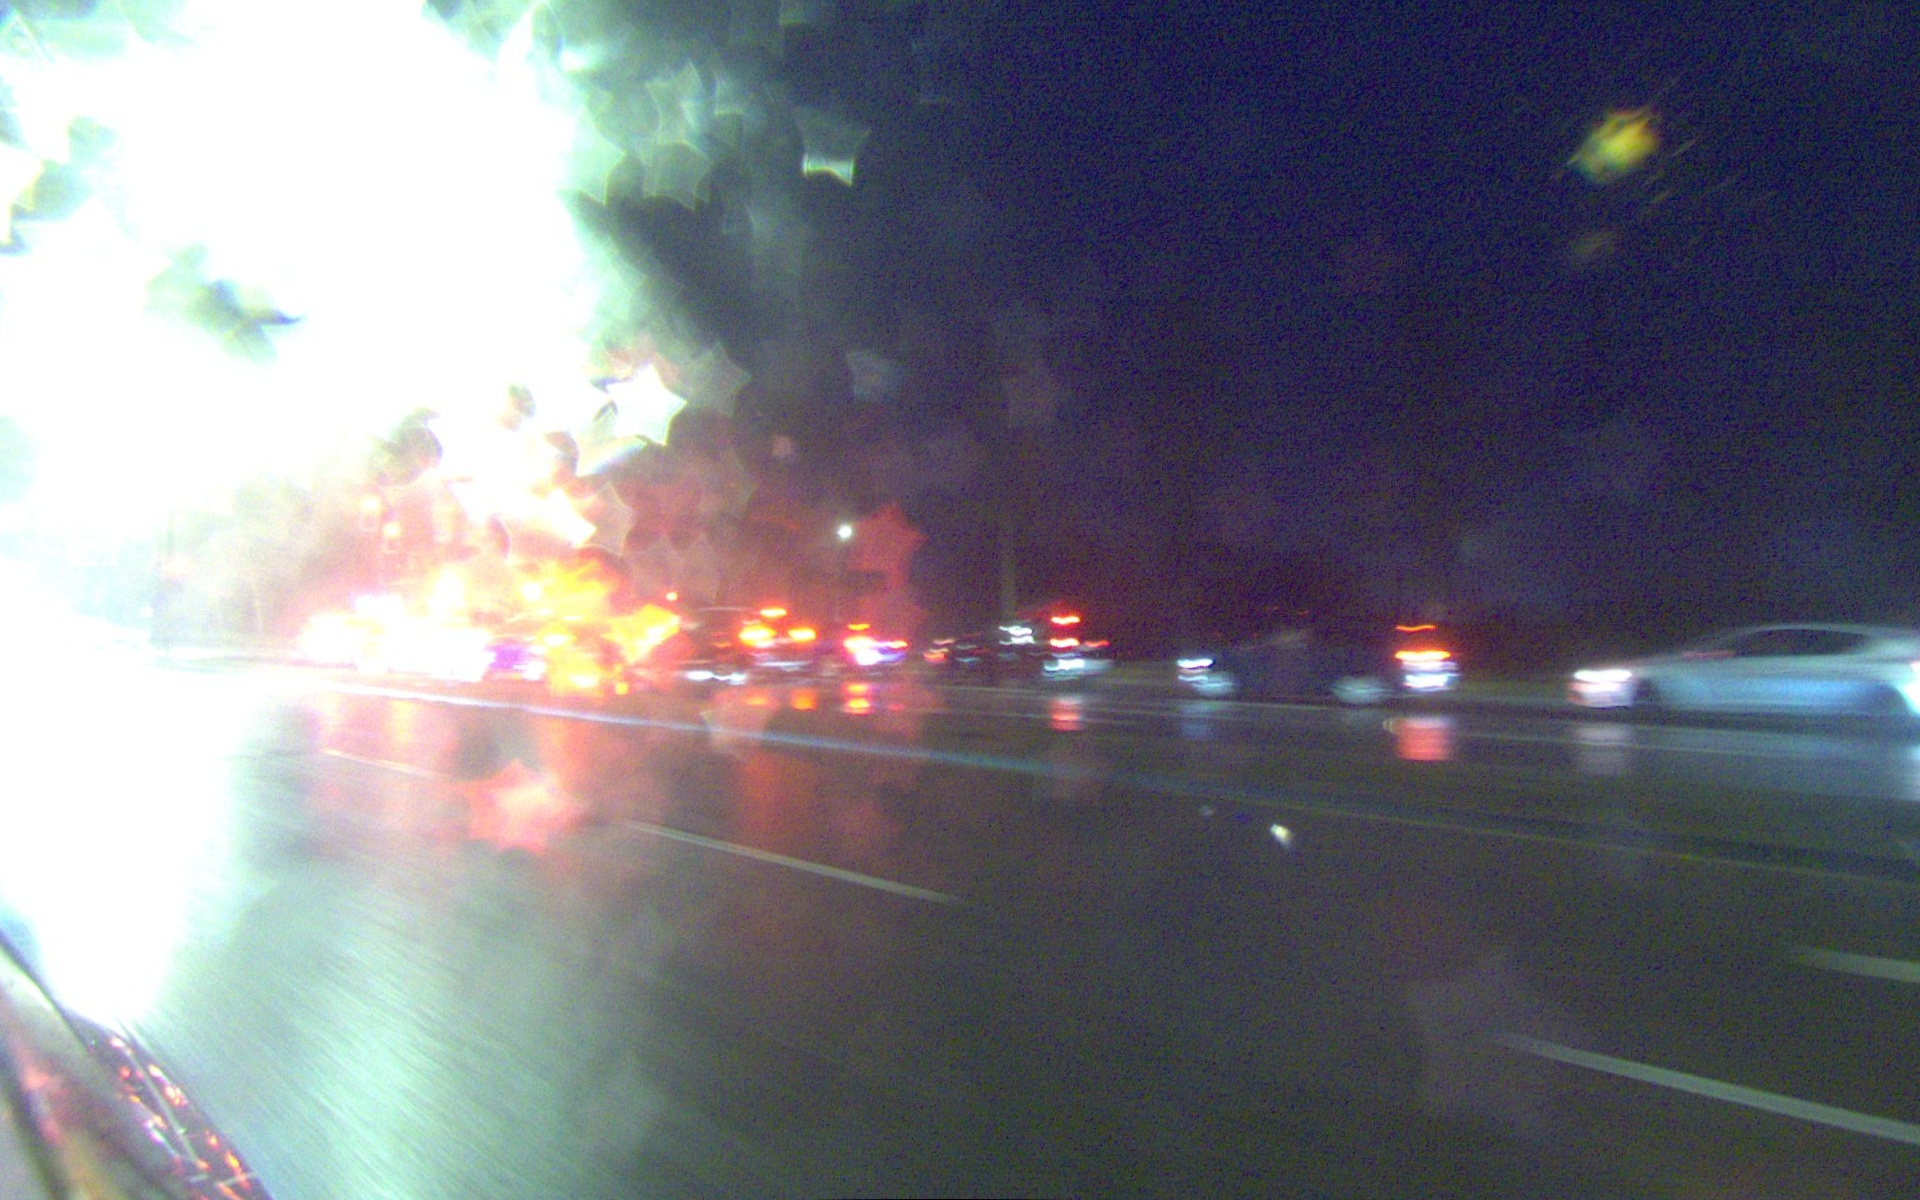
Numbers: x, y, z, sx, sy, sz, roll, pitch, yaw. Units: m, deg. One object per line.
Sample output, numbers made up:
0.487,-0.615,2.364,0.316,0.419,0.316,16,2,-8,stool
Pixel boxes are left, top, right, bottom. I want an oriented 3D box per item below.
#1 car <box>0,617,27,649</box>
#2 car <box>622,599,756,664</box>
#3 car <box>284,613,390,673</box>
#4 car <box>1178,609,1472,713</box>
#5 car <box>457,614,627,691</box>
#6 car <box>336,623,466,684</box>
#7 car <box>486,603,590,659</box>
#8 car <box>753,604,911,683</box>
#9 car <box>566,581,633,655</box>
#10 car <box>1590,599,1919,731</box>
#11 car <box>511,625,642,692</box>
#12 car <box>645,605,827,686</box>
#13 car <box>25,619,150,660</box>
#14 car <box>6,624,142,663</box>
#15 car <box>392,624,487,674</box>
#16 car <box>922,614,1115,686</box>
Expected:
-65.061,2.220,69.087,4.148,2.039,1.768,1,0,44,car
-8.187,0.934,30.382,4.248,1.813,1.780,-2,-1,41,car
-19.644,1.319,31.851,3.899,1.738,1.741,-2,-1,41,car
6.340,1.012,17.872,4.530,1.550,1.833,0,-3,41,car
-9.604,1.149,23.111,4.302,1.590,1.794,-1,-3,40,car
-15.251,1.396,27.499,4.411,1.495,1.758,-2,-1,42,car
-15.144,1.101,36.199,4.283,1.862,1.741,-2,-1,42,car
-3.377,1.053,26.302,4.122,1.862,1.741,0,0,41,car
-14.488,0.701,40.492,2.217,2.730,5.627,-1,-1,-23,car
11.209,0.832,13.906,4.144,1.614,1.477,-2,-1,41,car
-10.905,1.594,28.695,3.974,1.678,1.780,0,0,41,car
-5.270,1.008,23.477,4.485,1.678,1.780,-2,-1,41,car
-39.004,1.737,45.291,1.849,1.718,4.070,-2,-1,43,car
-36.677,1.759,41.954,1.681,1.456,4.116,-2,-1,43,car
-17.664,1.616,34.259,4.060,1.498,1.693,0,0,45,car
1.224,1.027,22.329,4.037,1.387,1.741,0,0,41,car
